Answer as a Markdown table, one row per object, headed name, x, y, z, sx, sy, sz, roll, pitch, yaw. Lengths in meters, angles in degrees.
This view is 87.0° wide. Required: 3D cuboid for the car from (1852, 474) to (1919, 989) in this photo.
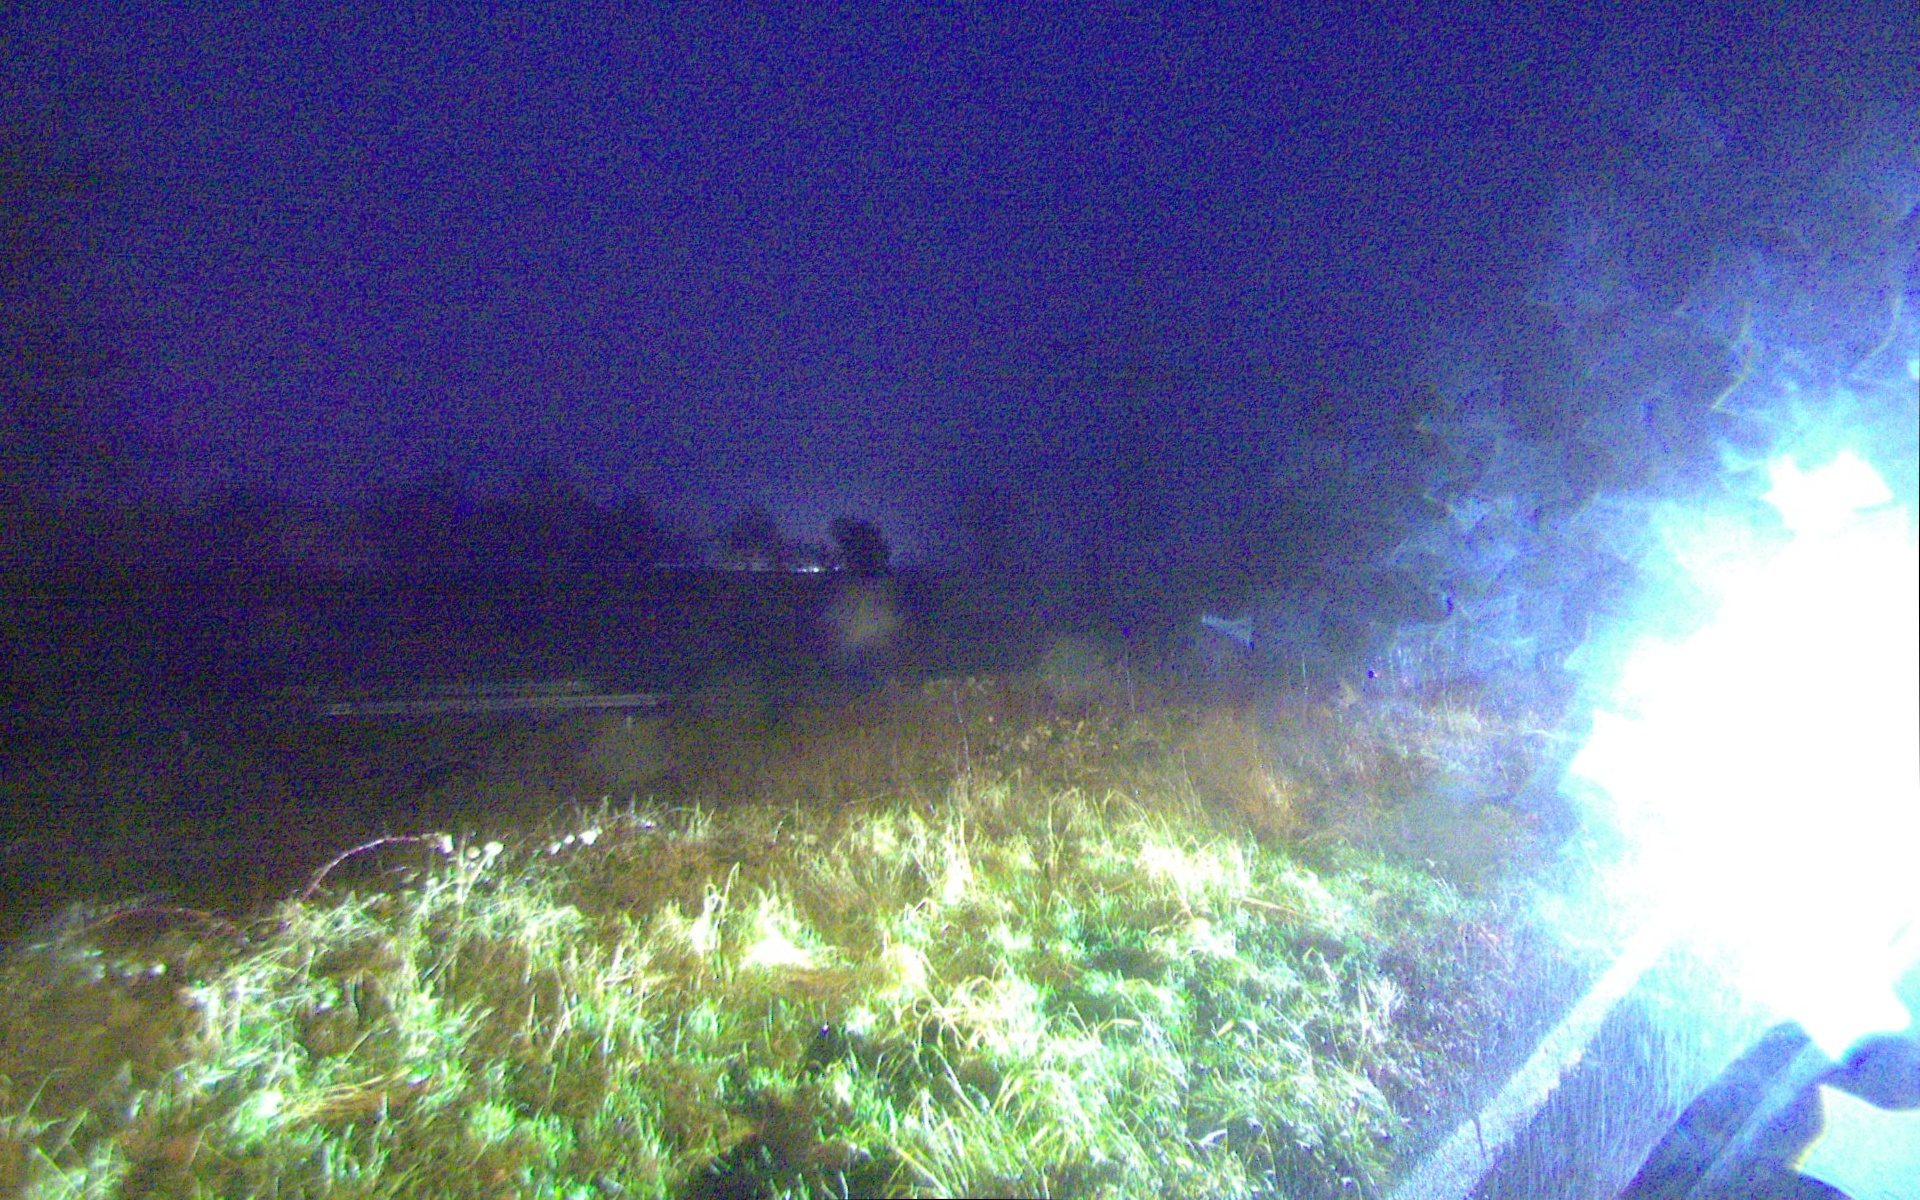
| name | x | y | z | sx | sy | sz | roll | pitch | yaw |
| --- | --- | --- | --- | --- | --- | --- | --- | --- | --- |
| car | 5.721 | 0.480 | 4.753 | 4.298 | 1.949 | 1.999 | -1 | 1 | -44 |
